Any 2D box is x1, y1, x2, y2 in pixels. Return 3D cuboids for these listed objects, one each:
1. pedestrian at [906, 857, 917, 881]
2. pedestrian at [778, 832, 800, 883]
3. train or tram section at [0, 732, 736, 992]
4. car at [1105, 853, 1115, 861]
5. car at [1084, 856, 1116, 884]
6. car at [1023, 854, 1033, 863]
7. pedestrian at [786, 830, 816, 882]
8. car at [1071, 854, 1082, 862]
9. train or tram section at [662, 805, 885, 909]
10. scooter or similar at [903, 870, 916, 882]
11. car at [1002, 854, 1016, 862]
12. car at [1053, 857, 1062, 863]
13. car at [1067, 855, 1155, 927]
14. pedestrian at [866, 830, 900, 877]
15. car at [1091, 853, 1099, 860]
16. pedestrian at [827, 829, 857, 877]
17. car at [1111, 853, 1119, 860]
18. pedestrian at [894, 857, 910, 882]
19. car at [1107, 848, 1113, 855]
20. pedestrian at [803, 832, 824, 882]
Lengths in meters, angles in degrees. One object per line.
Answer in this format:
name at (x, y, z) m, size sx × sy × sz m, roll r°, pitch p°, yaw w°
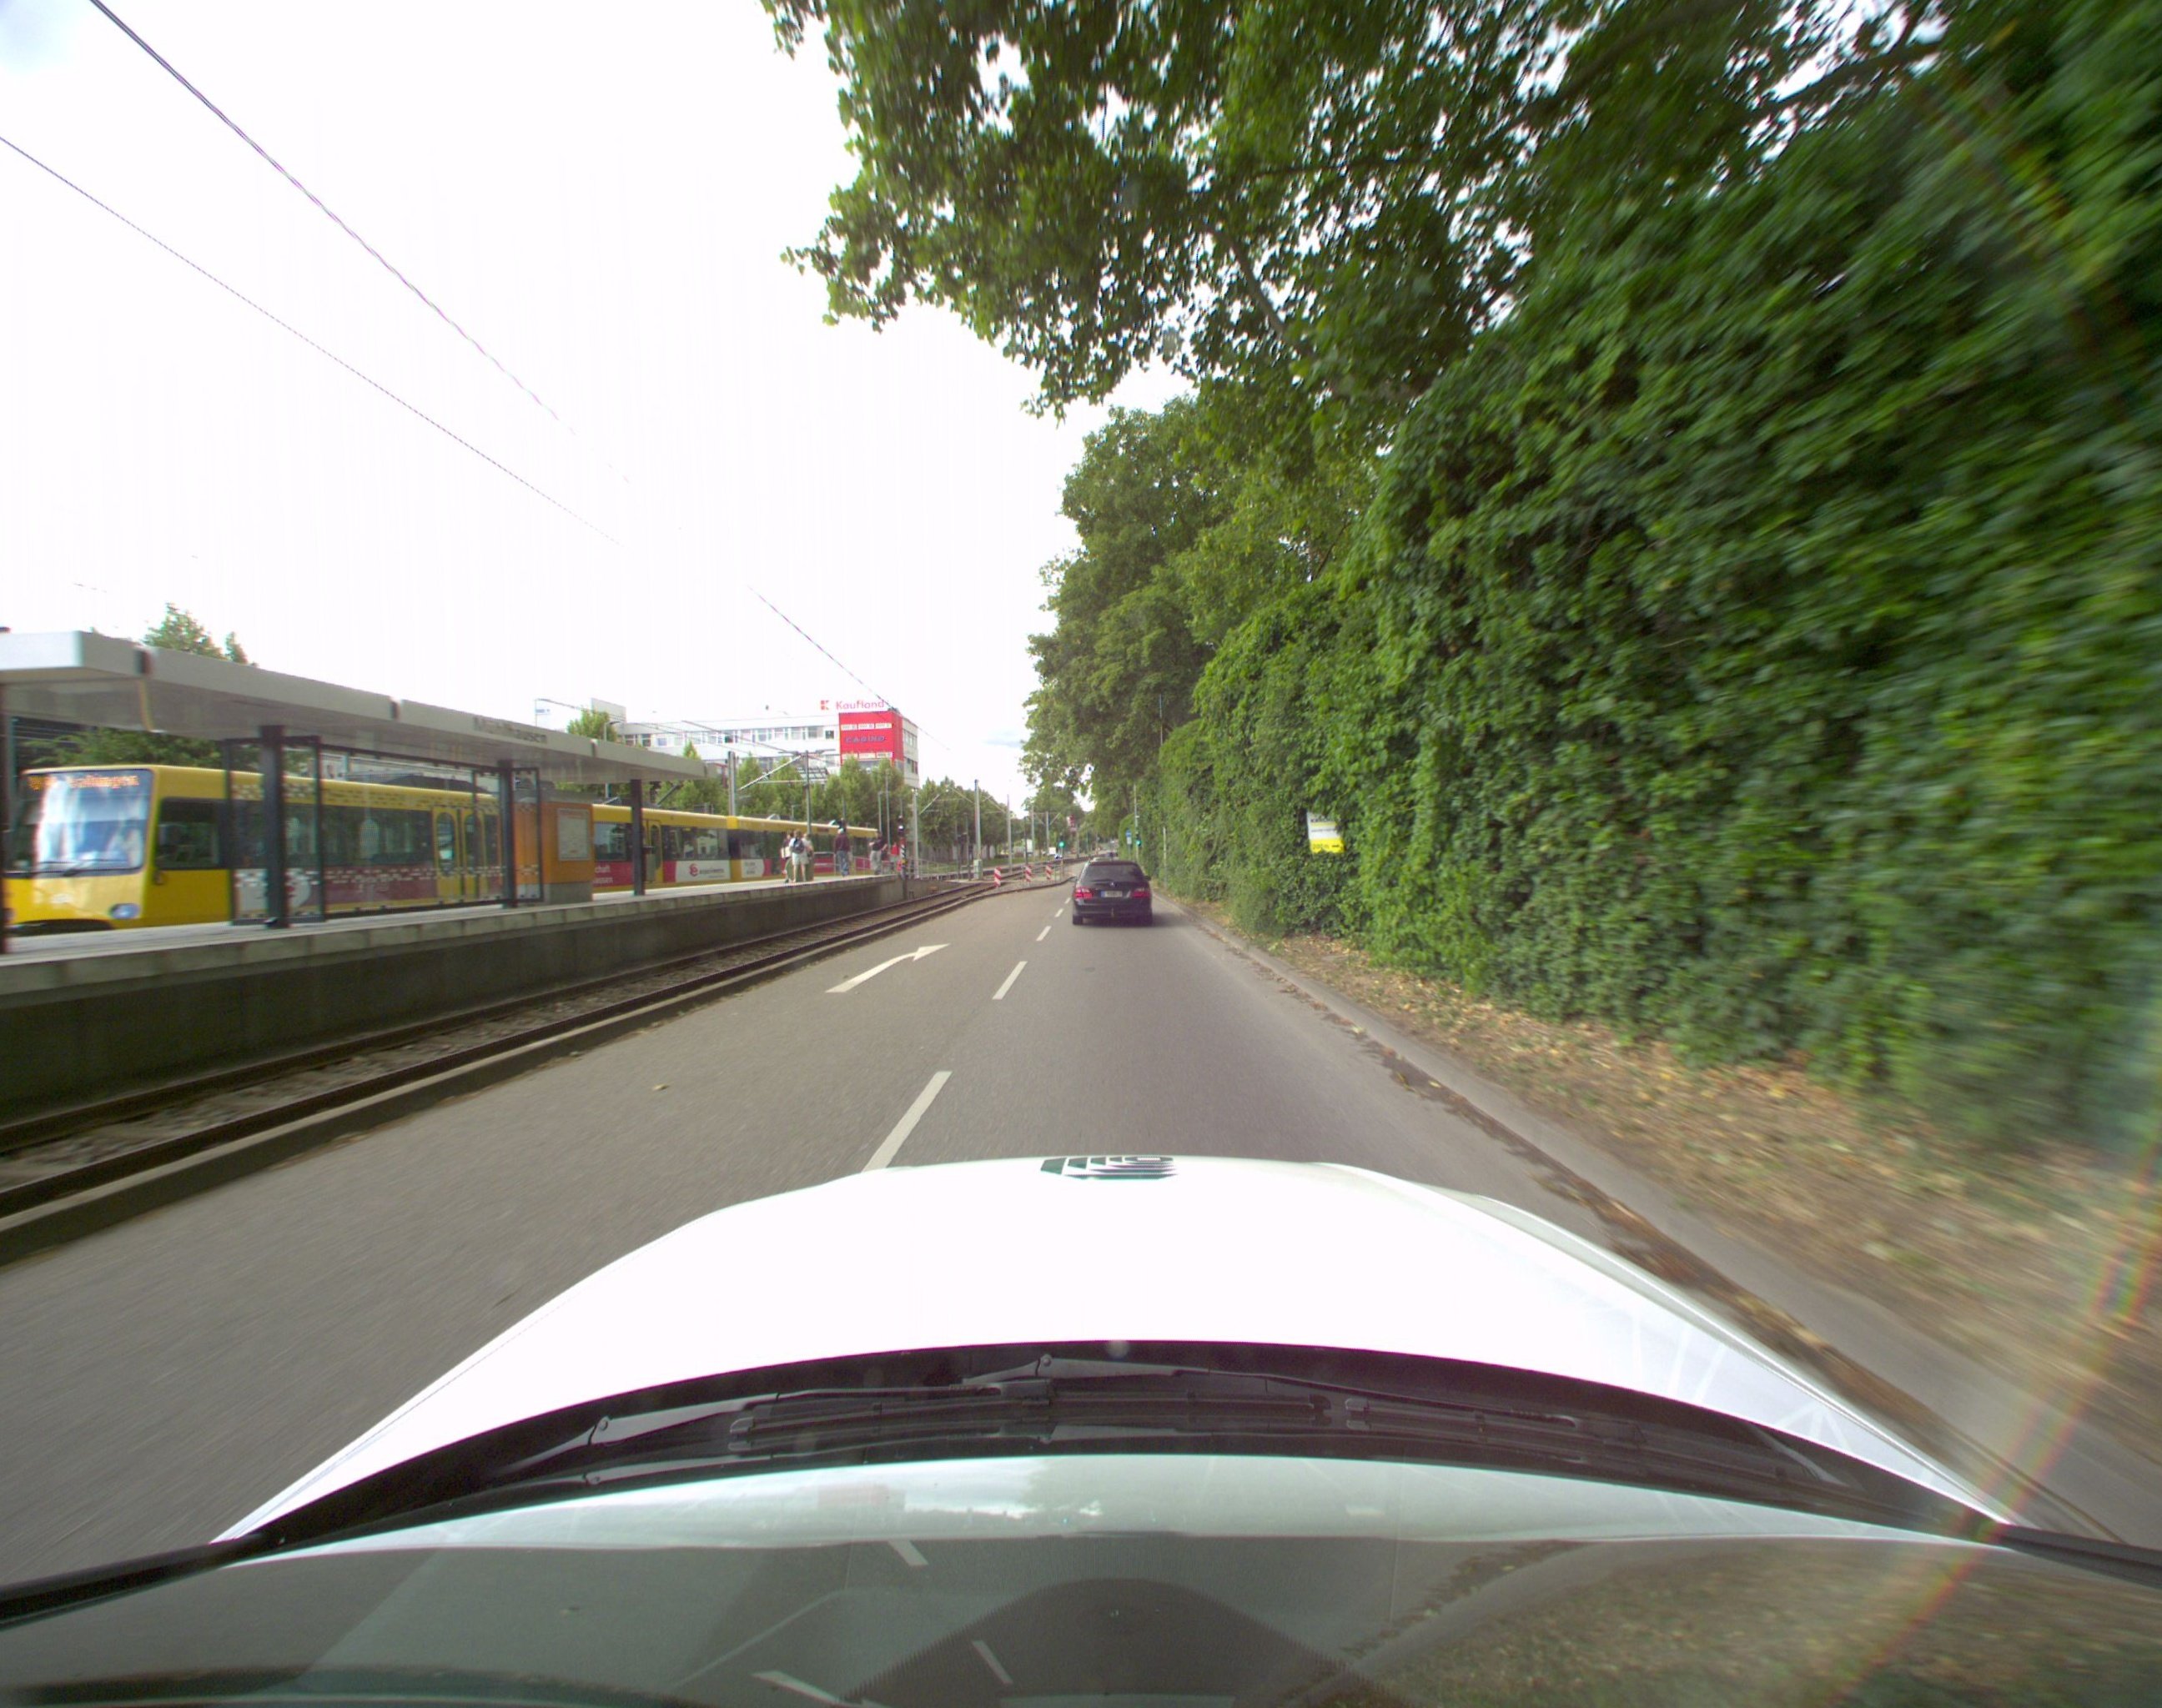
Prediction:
pedestrian at (-11.907, 1.058, 57.073) m, size 0.513 × 1.662 × 0.467 m, roll -4°, pitch -1°, yaw 12°
pedestrian at (-8.785, 0.103, 24.500) m, size 0.476 × 1.483 × 0.540 m, roll -3°, pitch -1°, yaw -13°
train or tram section at (-15.230, 0.131, 21.918) m, size 2.745 × 3.882 × 18.648 m, roll -4°, pitch 0°, yaw 3°
car at (5.950, 0.677, 165.638) m, size 1.817 × 1.530 × 4.420 m, roll -2°, pitch 0°, yaw 3°
car at (1.127, 0.910, 48.389) m, size 1.819 × 1.530 × 4.417 m, roll -1°, pitch 0°, yaw 1°
car at (-13.801, 1.153, 211.692) m, size 1.986 × 2.013 × 4.001 m, roll -3°, pitch 0°, yaw 1°
pedestrian at (-8.136, 0.055, 23.670) m, size 0.514 × 1.482 × 0.585 m, roll -4°, pitch -1°, yaw 40°
car at (-0.864, 0.802, 157.118) m, size 1.817 × 1.530 × 3.931 m, roll -1°, pitch 0°, yaw 3°
train or tram section at (-14.057, 0.205, 40.561) m, size 2.744 × 3.828 × 18.648 m, roll -4°, pitch -1°, yaw 4°
scooter or similar at (-11.784, 1.488, 55.889) m, size 0.491 × 0.768 × 0.803 m, roll -4°, pitch -1°, yaw 23°
car at (-16.033, 0.860, 181.521) m, size 1.984 × 1.743 × 4.995 m, roll -3°, pitch 0°, yaw 6°
car at (-5.646, 1.417, 195.004) m, size 1.651 × 1.393 × 3.726 m, roll -1°, pitch 0°, yaw 7°
car at (0.725, 0.797, 19.430) m, size 1.826 × 1.478 × 4.418 m, roll -1°, pitch 0°, yaw 2°
pedestrian at (-7.336, -0.036, 30.126) m, size 0.881 × 1.678 × 0.736 m, roll -3°, pitch -1°, yaw -45°
car at (3.390, 0.587, 201.206) m, size 1.817 × 1.530 × 3.990 m, roll -1°, pitch 0°, yaw 3°
pedestrian at (-8.663, -0.028, 29.548) m, size 0.768 × 1.678 × 0.791 m, roll -3°, pitch -1°, yaw 1°
car at (7.777, 0.520, 185.258) m, size 1.817 × 1.530 × 3.931 m, roll -1°, pitch 0°, yaw 3°
pedestrian at (-12.326, 1.090, 56.104) m, size 0.607 × 1.654 × 0.800 m, roll -4°, pitch -1°, yaw 23°
car at (8.805, -0.791, 246.133) m, size 1.884 × 2.013 × 3.899 m, roll -3°, pitch 0°, yaw 2°
pedestrian at (-8.109, 0.089, 24.725) m, size 0.359 × 1.464 × 0.639 m, roll -2°, pitch 0°, yaw 1°
